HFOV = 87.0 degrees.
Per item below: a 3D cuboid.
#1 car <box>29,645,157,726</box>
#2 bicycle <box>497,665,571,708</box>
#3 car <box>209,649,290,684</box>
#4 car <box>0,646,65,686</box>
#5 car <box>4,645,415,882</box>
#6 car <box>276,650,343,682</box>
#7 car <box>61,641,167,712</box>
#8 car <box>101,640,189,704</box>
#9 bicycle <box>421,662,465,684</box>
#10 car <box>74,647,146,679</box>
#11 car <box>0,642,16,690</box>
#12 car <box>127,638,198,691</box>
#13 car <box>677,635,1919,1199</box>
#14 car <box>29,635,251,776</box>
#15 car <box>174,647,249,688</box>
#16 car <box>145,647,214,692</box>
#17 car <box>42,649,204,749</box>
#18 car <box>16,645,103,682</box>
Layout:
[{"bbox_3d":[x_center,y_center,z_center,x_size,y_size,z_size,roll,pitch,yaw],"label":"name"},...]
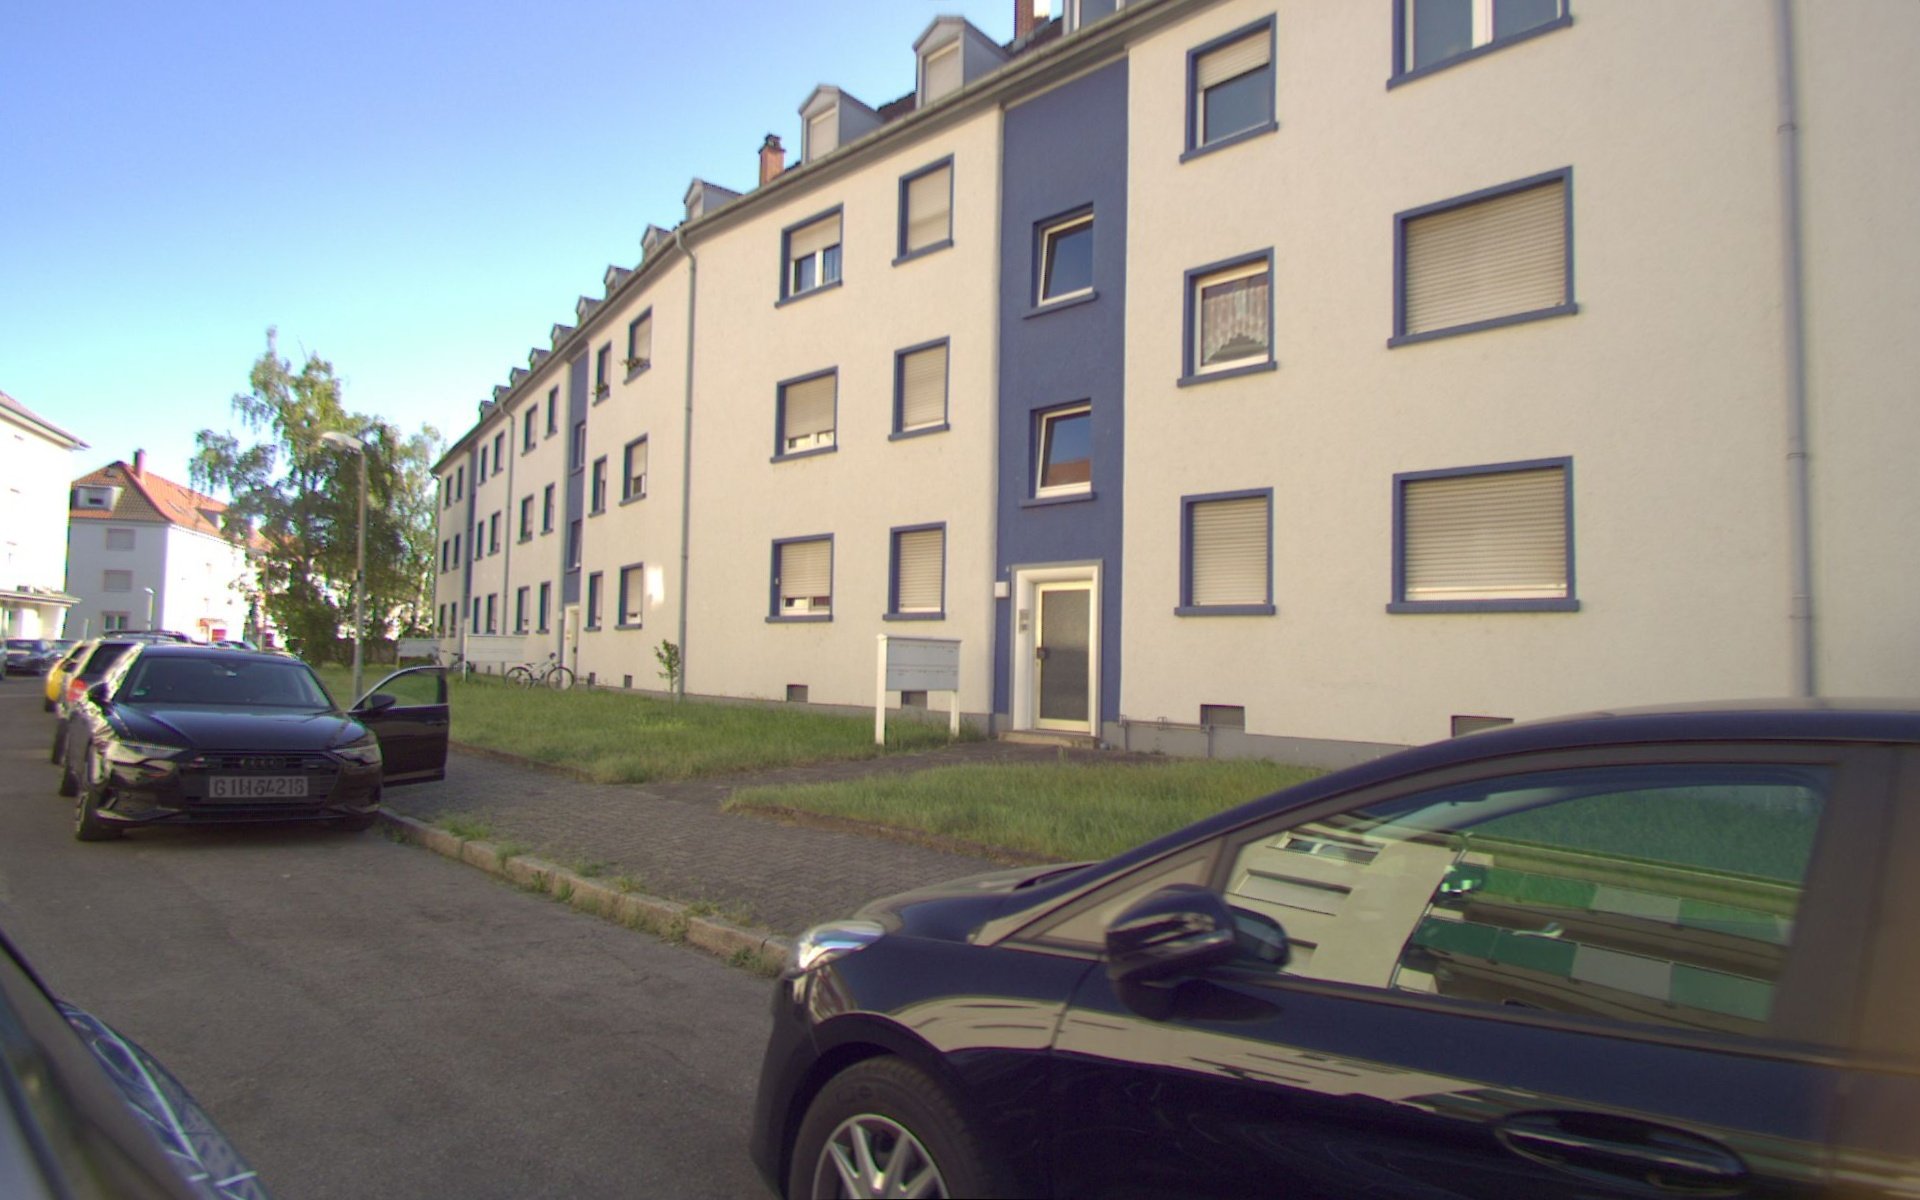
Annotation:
[{"bbox_3d":[-17.664,1.731,20.767,1.693,1.422,3.990,9,-8,-38],"label":"car"},{"bbox_3d":[-10.919,2.204,25.971,1.707,0.997,0.463,1,-2,-35],"label":"bicycle"},{"bbox_3d":[-34.575,3.278,49.379,1.551,1.436,3.986,5,-6,-9],"label":"car"},{"bbox_3d":[-36.236,2.514,38.857,1.728,1.440,4.480,6,-6,-29],"label":"car"},{"bbox_3d":[-6.531,1.213,8.613,4.395,1.470,1.879,-2,-8,43],"label":"car"},{"bbox_3d":[-34.527,3.535,53.838,1.428,1.436,3.283,4,-6,-2],"label":"car"},{"bbox_3d":[-21.298,1.931,25.617,1.616,1.559,3.656,8,-8,-35],"label":"car"},{"bbox_3d":[-24.396,2.169,30.403,1.615,1.715,3.657,8,-7,-34],"label":"car"},{"bbox_3d":[-19.539,2.768,38.241,1.435,0.770,0.310,1,-2,-35],"label":"bicycle"},{"bbox_3d":[-41.924,3.124,50.027,1.728,1.440,4.103,6,-6,-27],"label":"car"},{"bbox_3d":[-33.006,2.119,33.270,1.728,1.647,4.419,6,-6,-29],"label":"car"},{"bbox_3d":[-28.054,2.289,35.672,1.616,1.653,3.656,8,-8,-35],"label":"car"},{"bbox_3d":[1.303,0.895,1.719,3.700,1.530,1.627,-2,-8,41],"label":"car"},{"bbox_3d":[-10.670,1.313,13.068,1.721,1.528,3.985,10,-9,-44],"label":"car"},{"bbox_3d":[-32.856,3.008,44.539,1.614,1.587,3.659,6,-7,-21],"label":"car"},{"bbox_3d":[-30.672,2.745,39.853,1.615,1.587,3.658,7,-7,-31],"label":"car"},{"bbox_3d":[-13.952,1.590,16.789,1.694,1.422,3.986,9,-8,-43],"label":"car"},{"bbox_3d":[-39.097,2.786,44.040,1.728,1.440,4.103,6,-6,-27],"label":"car"}]
